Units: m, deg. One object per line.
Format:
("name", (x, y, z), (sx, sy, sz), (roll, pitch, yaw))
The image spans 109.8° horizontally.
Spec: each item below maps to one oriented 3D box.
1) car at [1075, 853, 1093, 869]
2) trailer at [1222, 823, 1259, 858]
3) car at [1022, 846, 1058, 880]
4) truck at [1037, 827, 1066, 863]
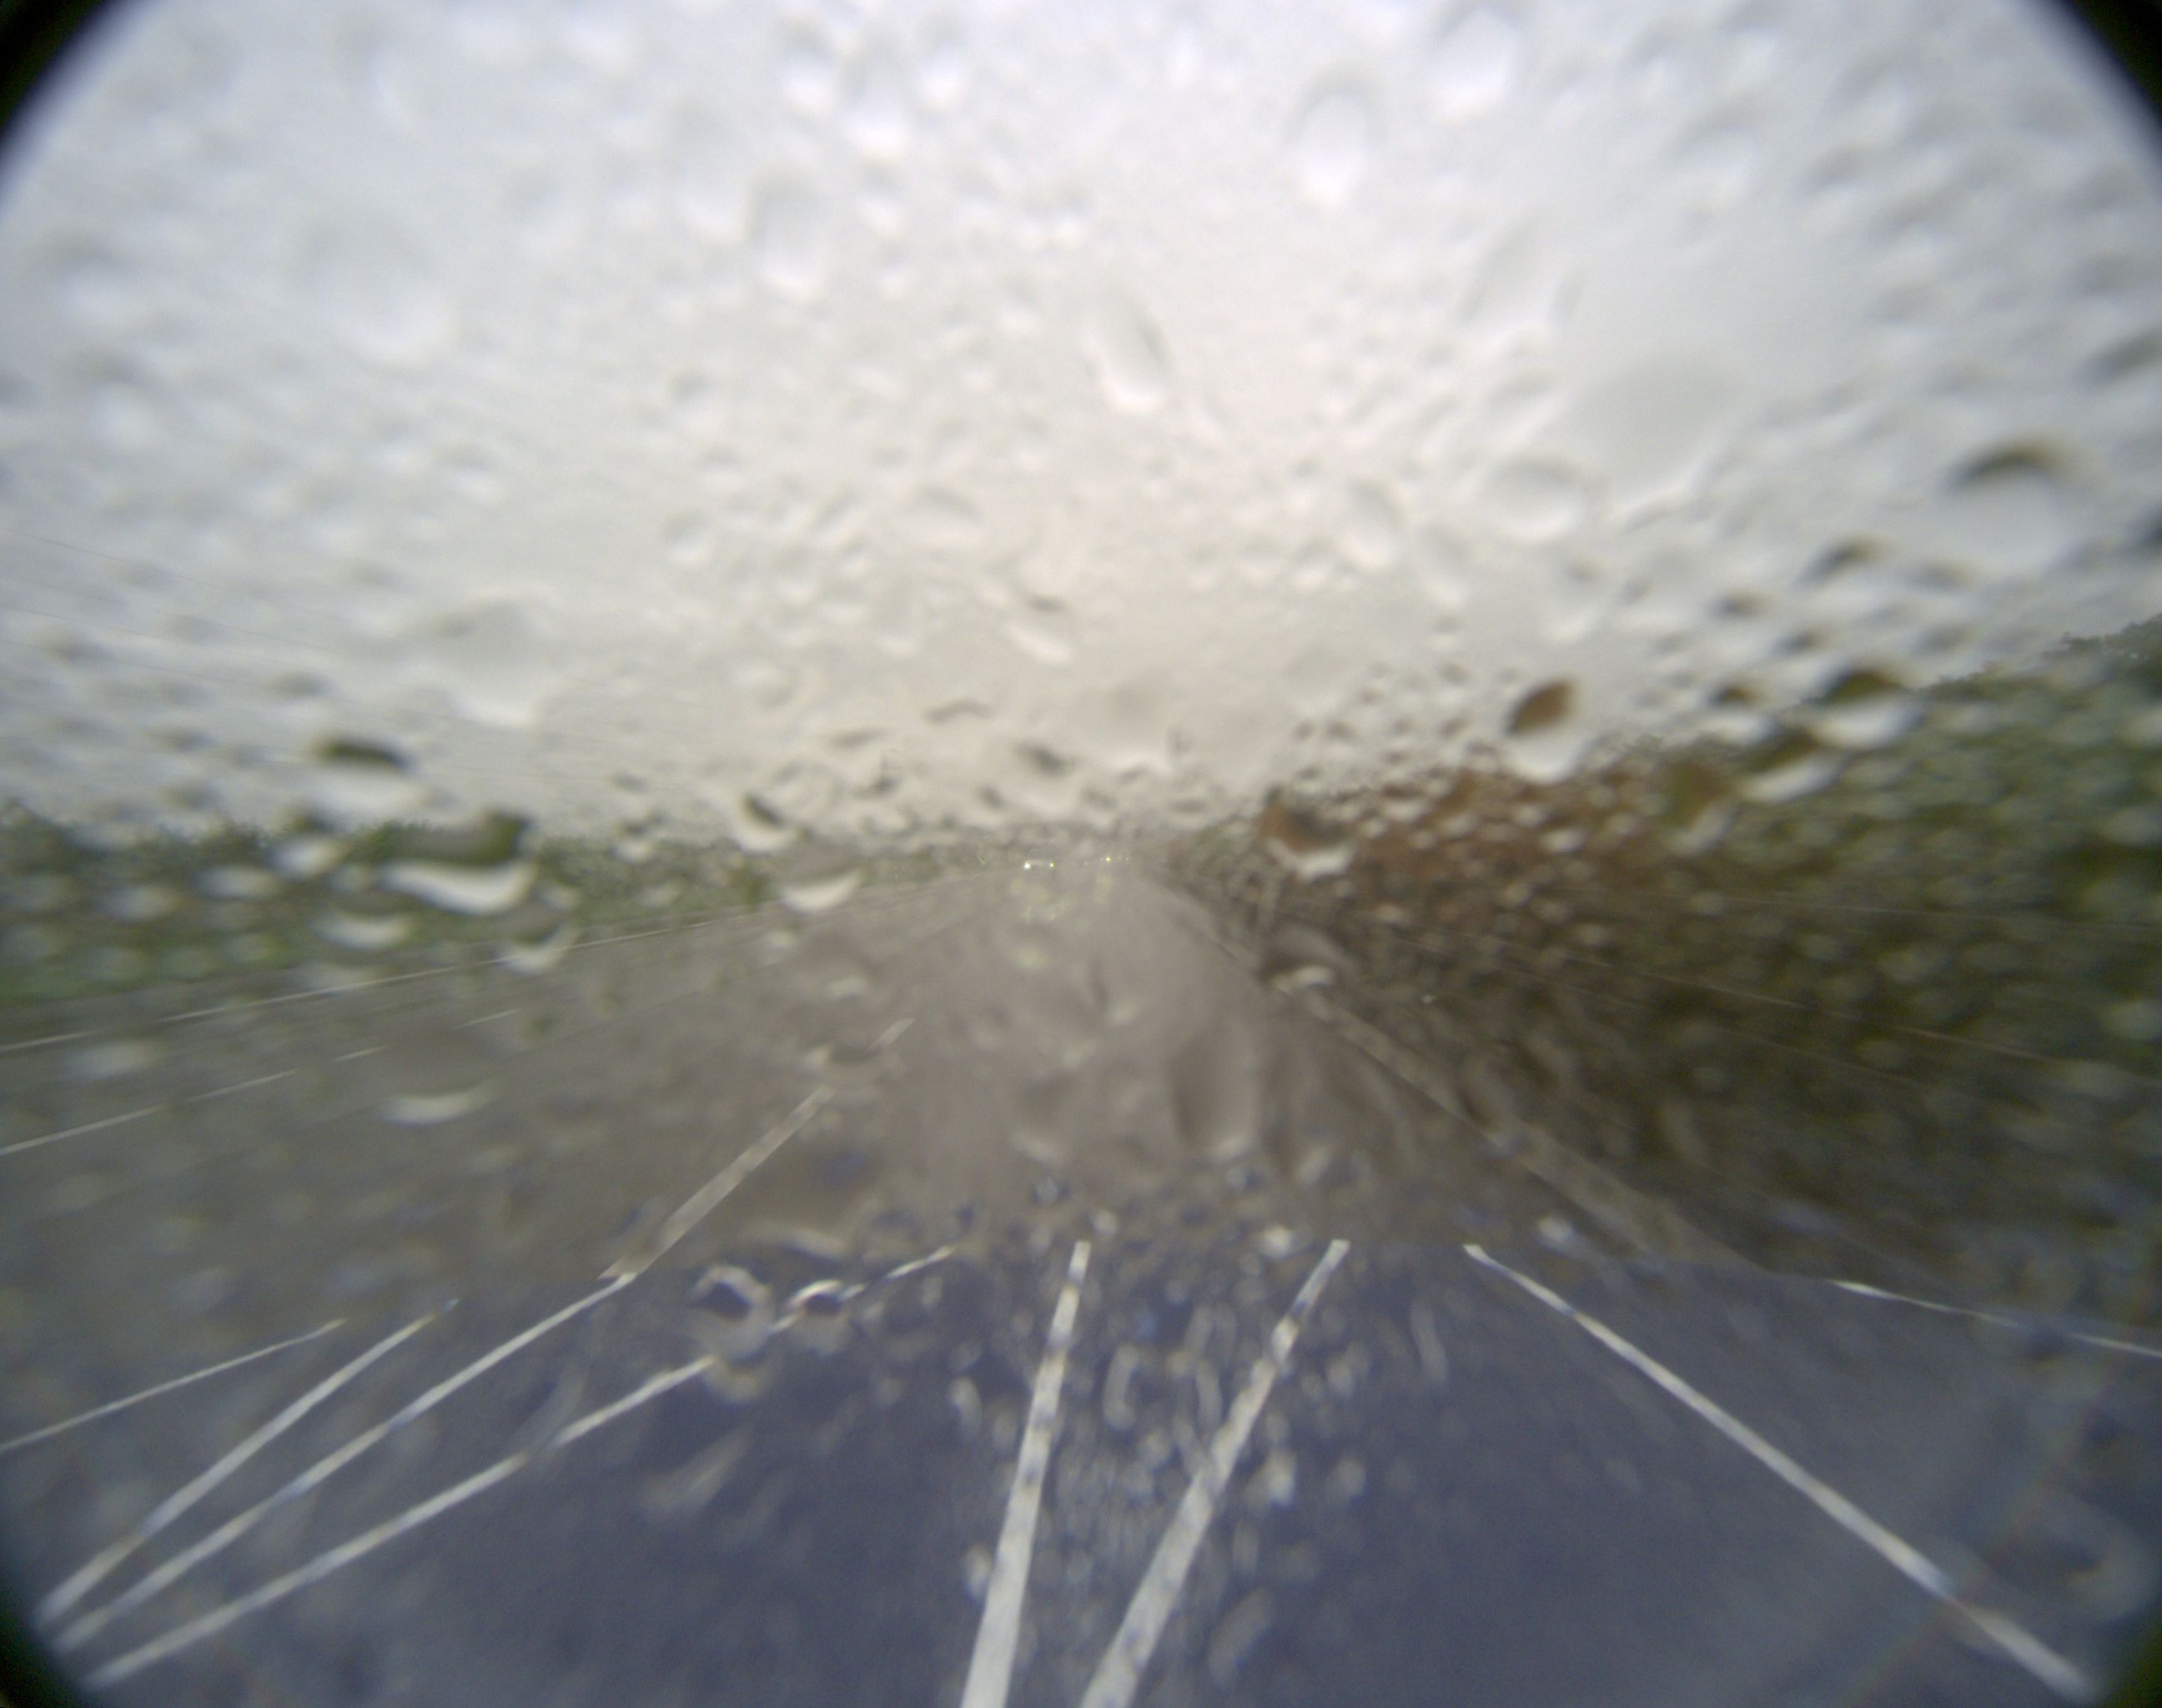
("car", (0.381, 0.865, 98.560), (1.999, 2.002, 3.998), (-2, 1, -3))
("trailer", (20.891, -1.726, 100.119), (2.524, 4.196, 12.943), (-2, 1, 2))
("car", (-2.588, 0.555, 49.020), (1.999, 2.002, 4.000), (-3, 0, 0))
("truck", (-4.062, -1.208, 106.677), (3.135, 4.642, 11.404), (-2, 1, 2))
